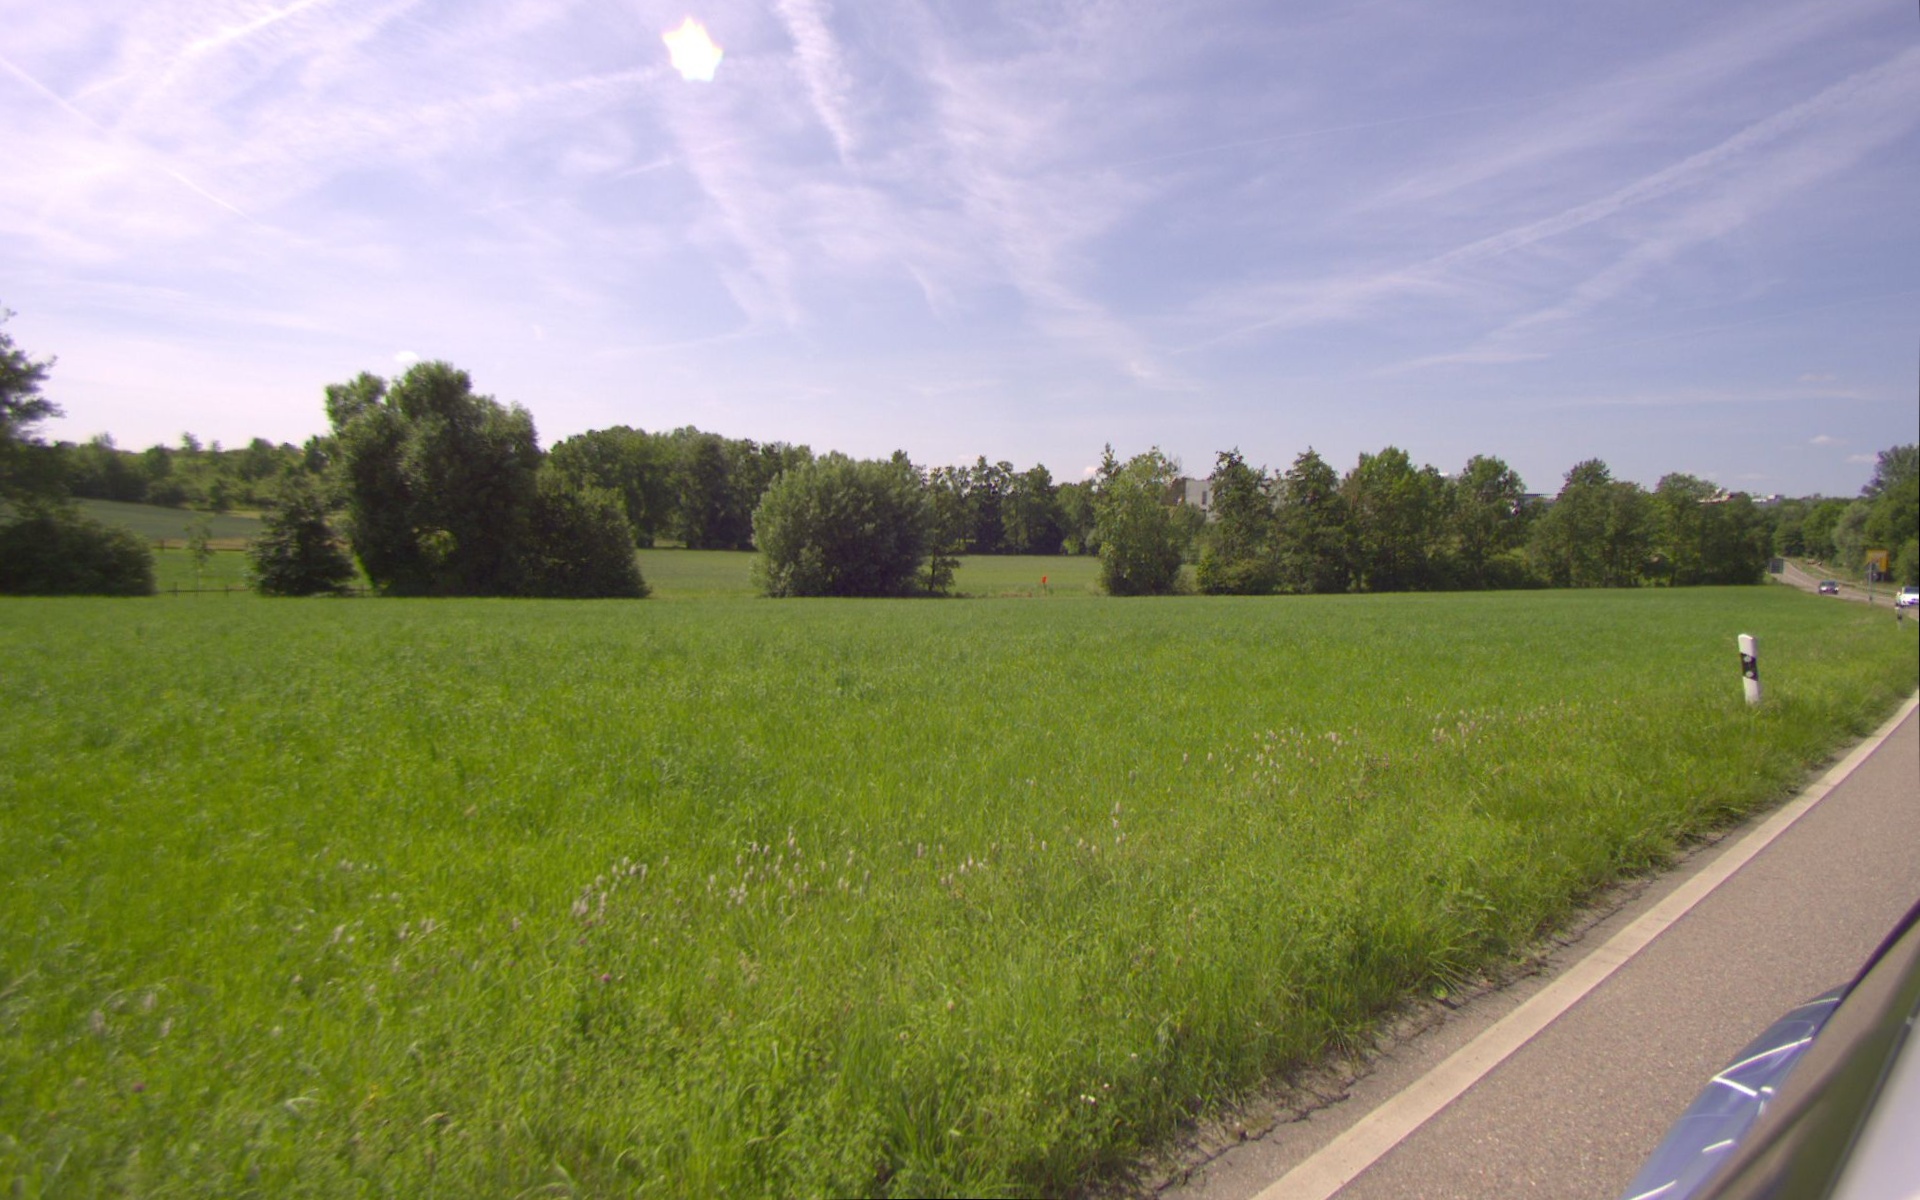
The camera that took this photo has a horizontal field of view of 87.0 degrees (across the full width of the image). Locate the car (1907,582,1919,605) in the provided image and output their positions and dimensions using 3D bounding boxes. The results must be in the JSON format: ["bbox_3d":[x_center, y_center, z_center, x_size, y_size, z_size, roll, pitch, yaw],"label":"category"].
[{"bbox_3d":[67.598,-0.468,70.656,1.992,1.604,3.941,2,2,41],"label":"car"}]

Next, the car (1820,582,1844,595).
[{"bbox_3d":[106.870,-1.412,124.033,1.990,1.604,3.944,2,2,39],"label":"car"}]
